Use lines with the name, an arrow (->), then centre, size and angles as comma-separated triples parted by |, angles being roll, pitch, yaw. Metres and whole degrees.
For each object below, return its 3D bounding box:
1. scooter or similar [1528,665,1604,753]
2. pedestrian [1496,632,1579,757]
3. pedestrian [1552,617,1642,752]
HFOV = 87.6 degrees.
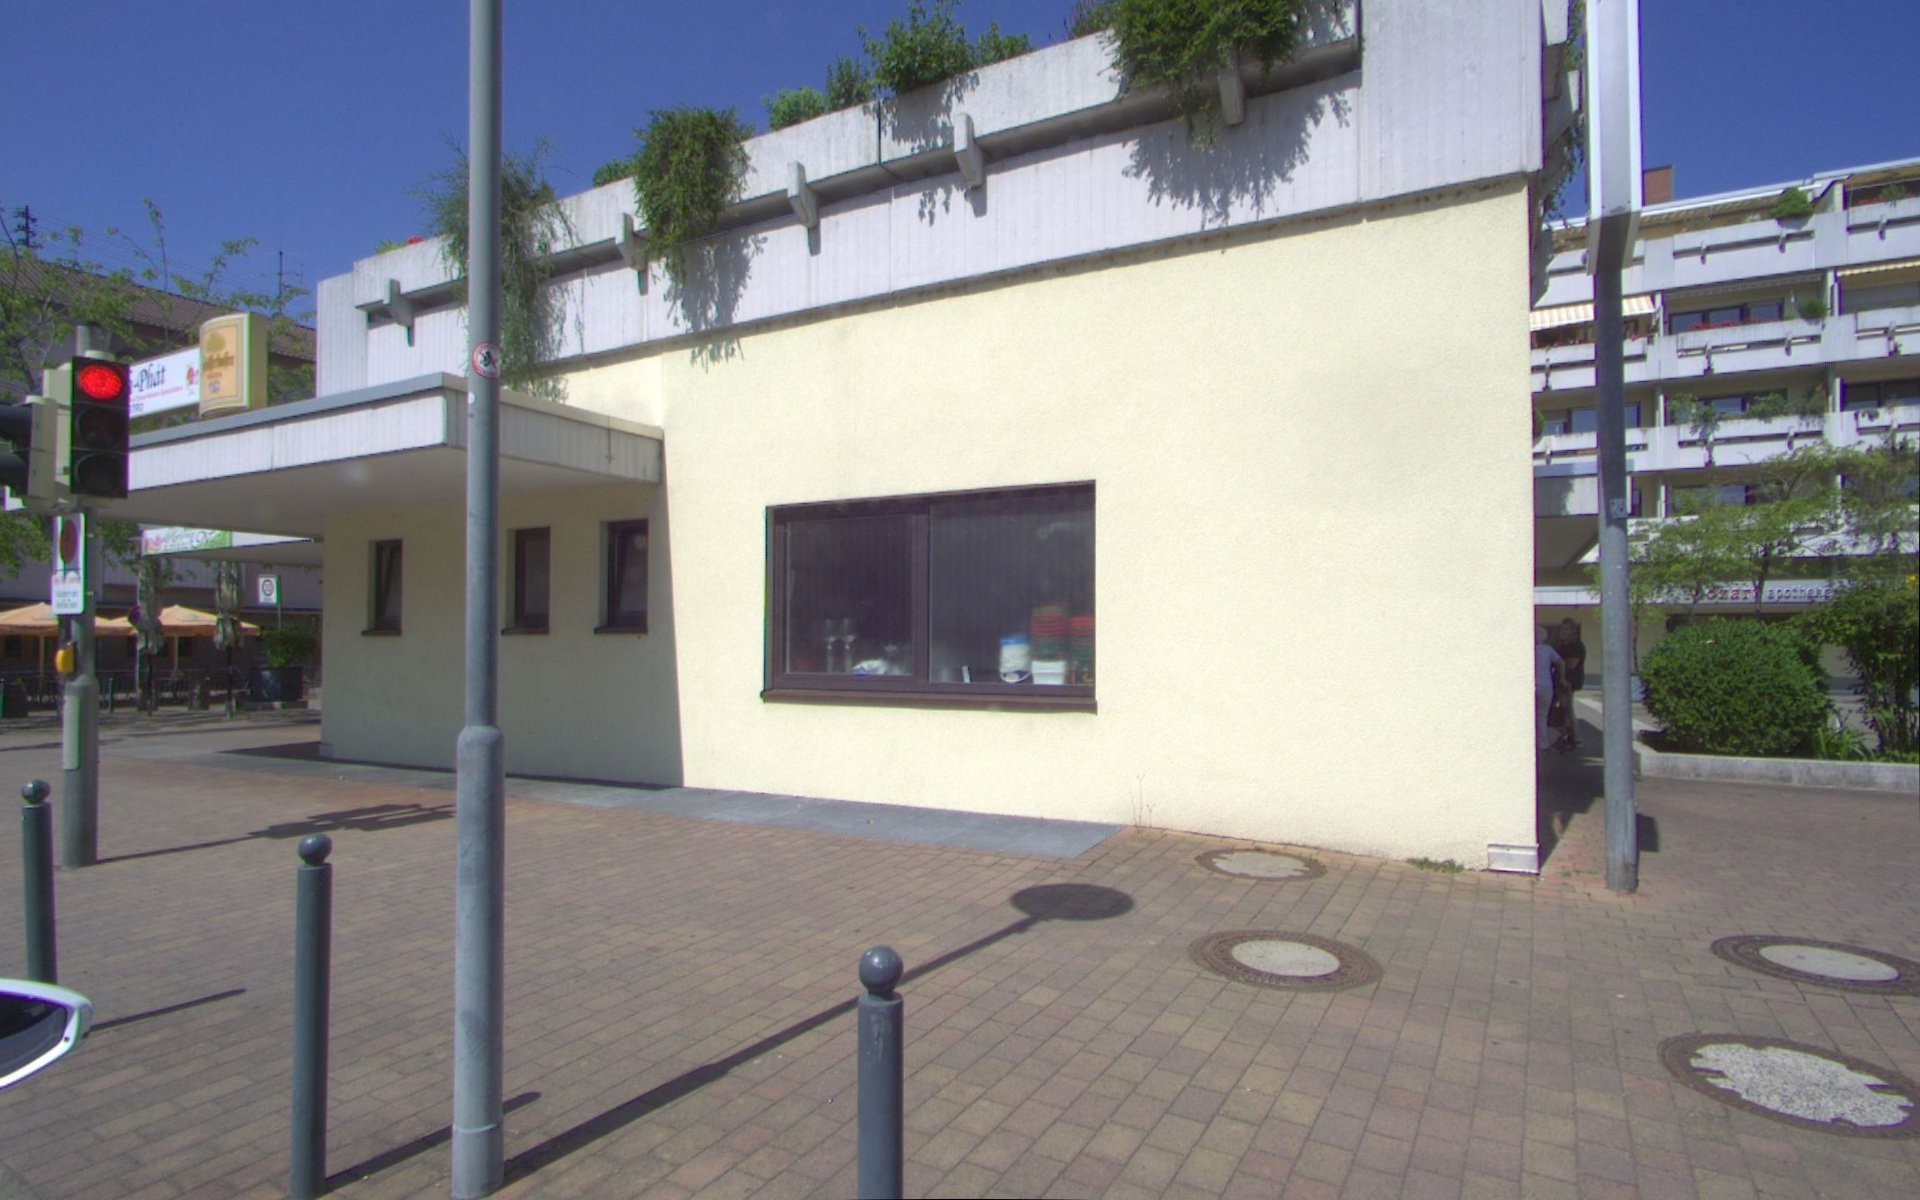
scooter or similar -> 7.951, 1.407, 13.141 | 0.795, 1.088, 0.587 | 2, -2, -35
pedestrian -> 7.306, 1.173, 12.669 | 0.801, 1.516, 0.615 | 1, -2, -35
pedestrian -> 8.633, 1.128, 13.599 | 0.887, 1.758, 0.703 | -1, -2, 21
